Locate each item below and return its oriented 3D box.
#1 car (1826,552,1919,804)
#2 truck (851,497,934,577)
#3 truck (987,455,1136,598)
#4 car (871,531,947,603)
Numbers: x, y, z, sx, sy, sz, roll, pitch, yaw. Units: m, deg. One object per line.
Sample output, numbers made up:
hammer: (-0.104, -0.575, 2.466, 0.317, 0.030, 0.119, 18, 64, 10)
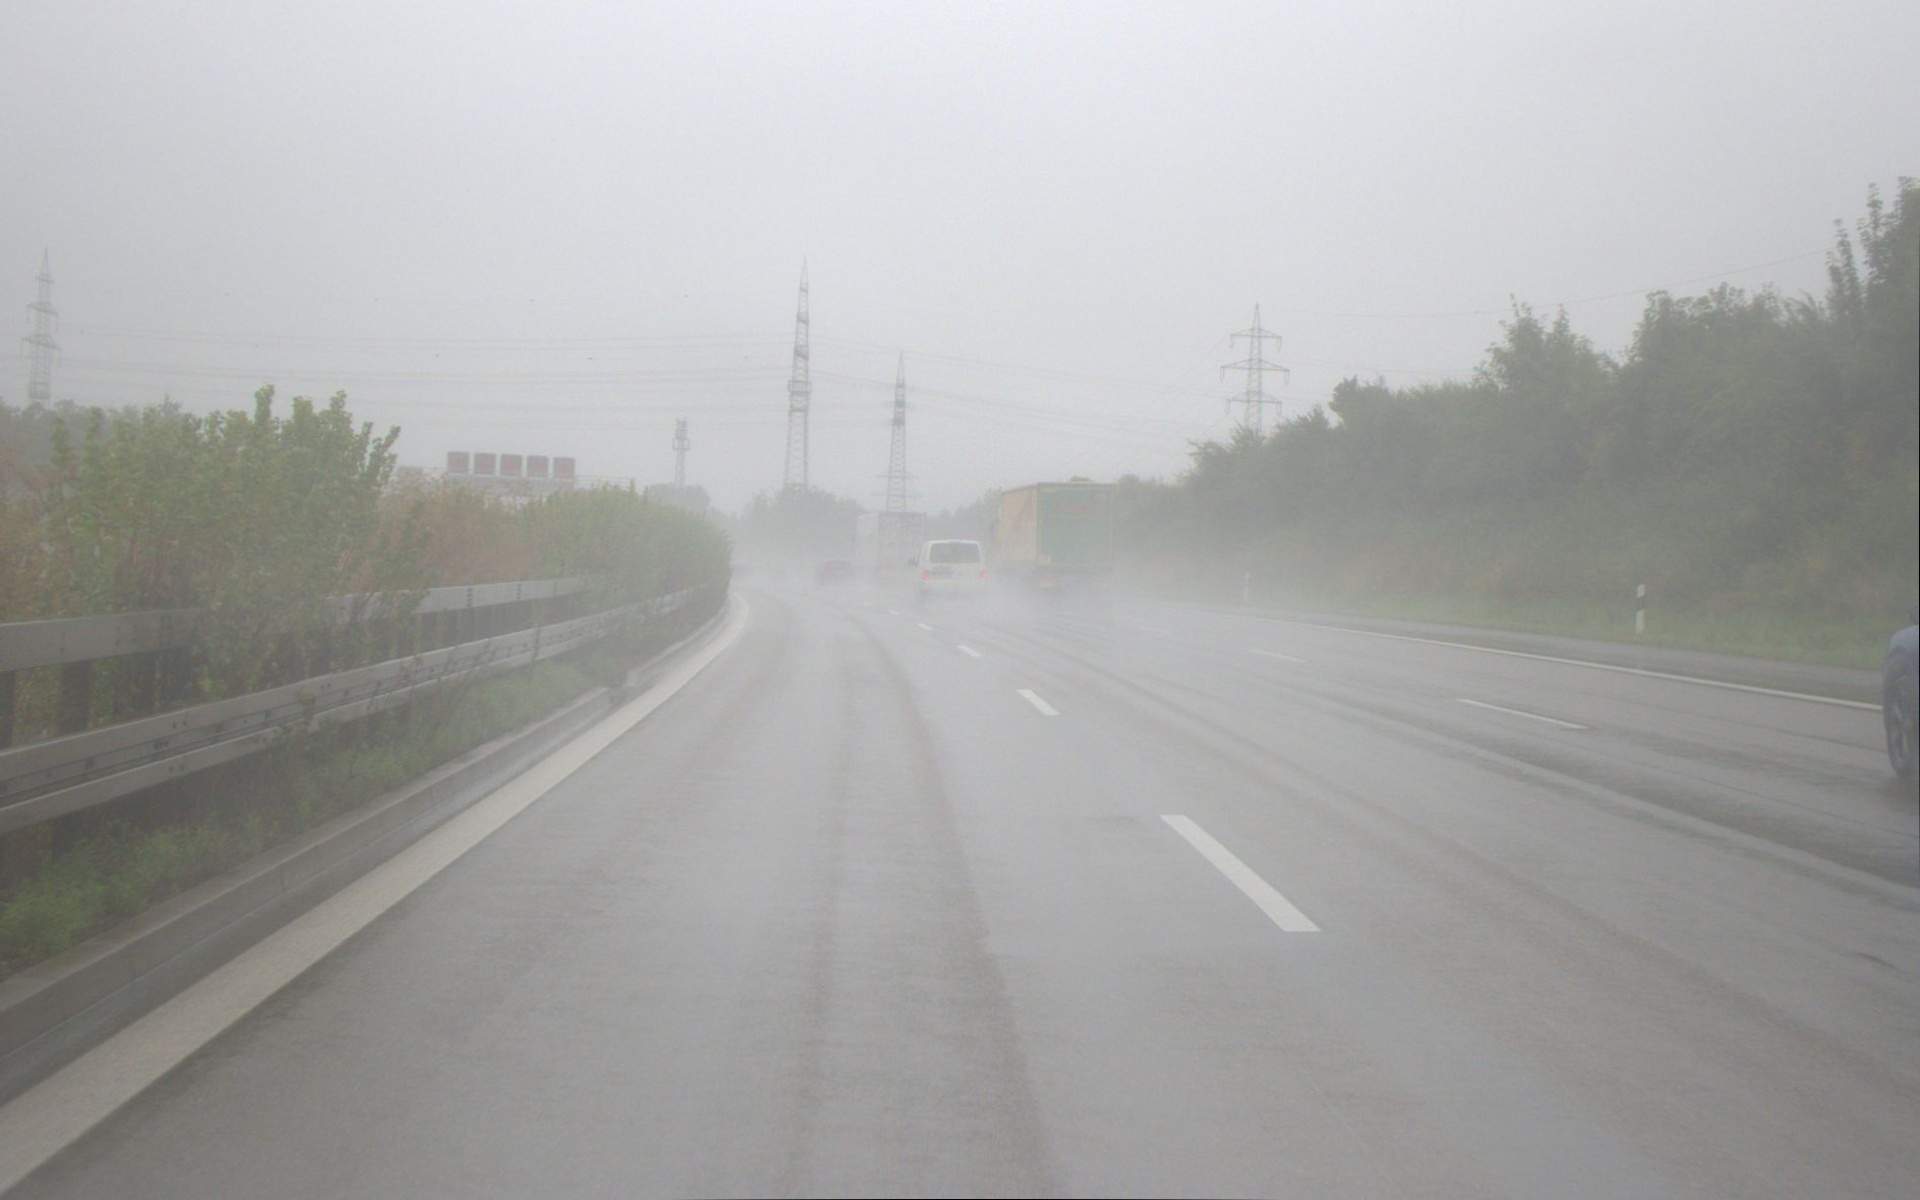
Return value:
car: (7.166, 0.507, 21.634, 1.993, 1.613, 4.993, 0, 0, -2)
truck: (-3.780, -3.484, 190.770, 3.231, 4.297, 8.839, 0, 1, -10)
truck: (3.380, -2.458, 120.176, 4.189, 4.614, 16.106, 0, 0, -2)
car: (-1.493, -0.963, 98.967, 1.993, 2.007, 4.001, 0, 1, -3)
